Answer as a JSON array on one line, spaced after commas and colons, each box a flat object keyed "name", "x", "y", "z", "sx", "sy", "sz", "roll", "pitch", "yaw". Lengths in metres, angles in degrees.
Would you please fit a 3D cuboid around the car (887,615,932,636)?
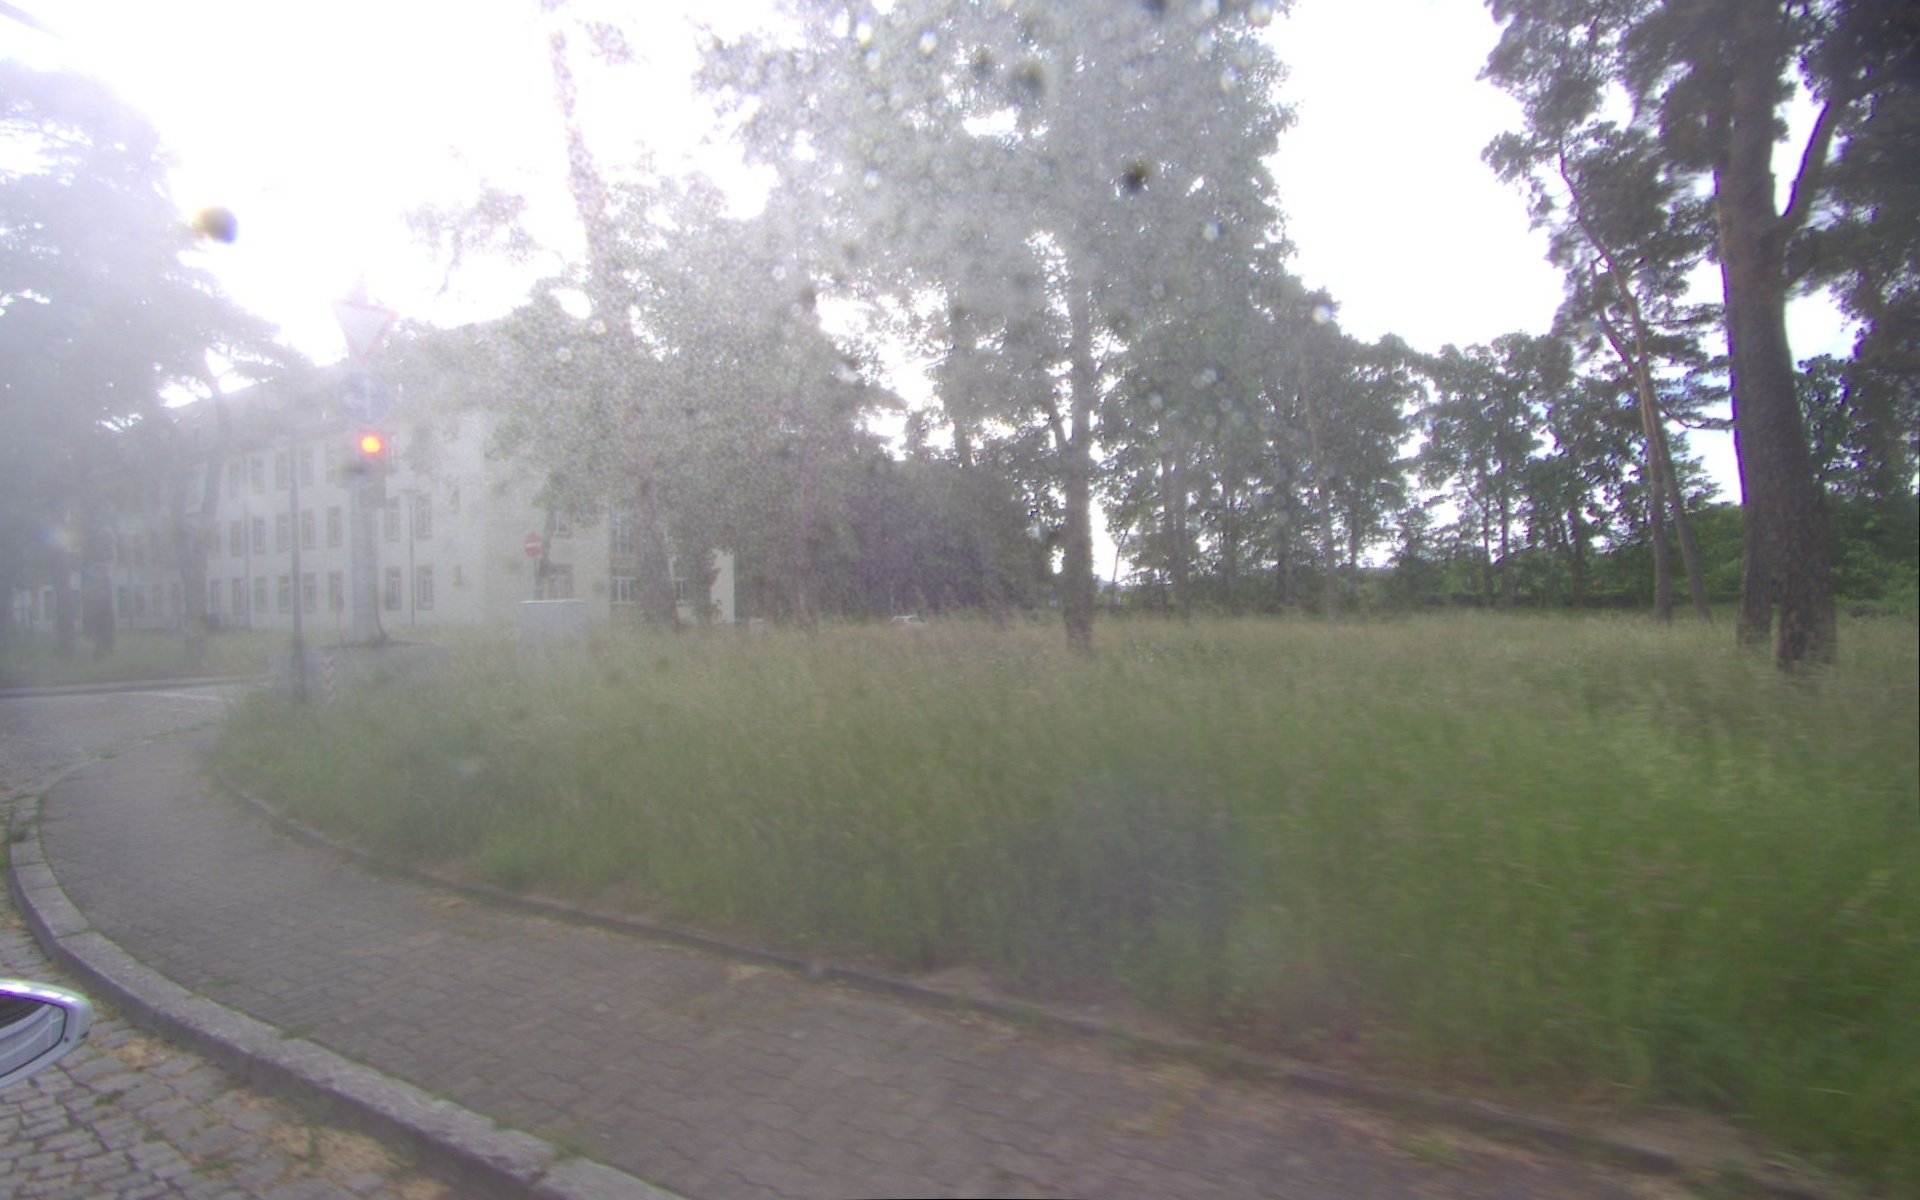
[{"name": "car", "x": -3.466, "y": 1.768, "z": 69.019, "sx": 1.467, "sy": 1.455, "sz": 3.178, "roll": -1, "pitch": -2, "yaw": 33}]
